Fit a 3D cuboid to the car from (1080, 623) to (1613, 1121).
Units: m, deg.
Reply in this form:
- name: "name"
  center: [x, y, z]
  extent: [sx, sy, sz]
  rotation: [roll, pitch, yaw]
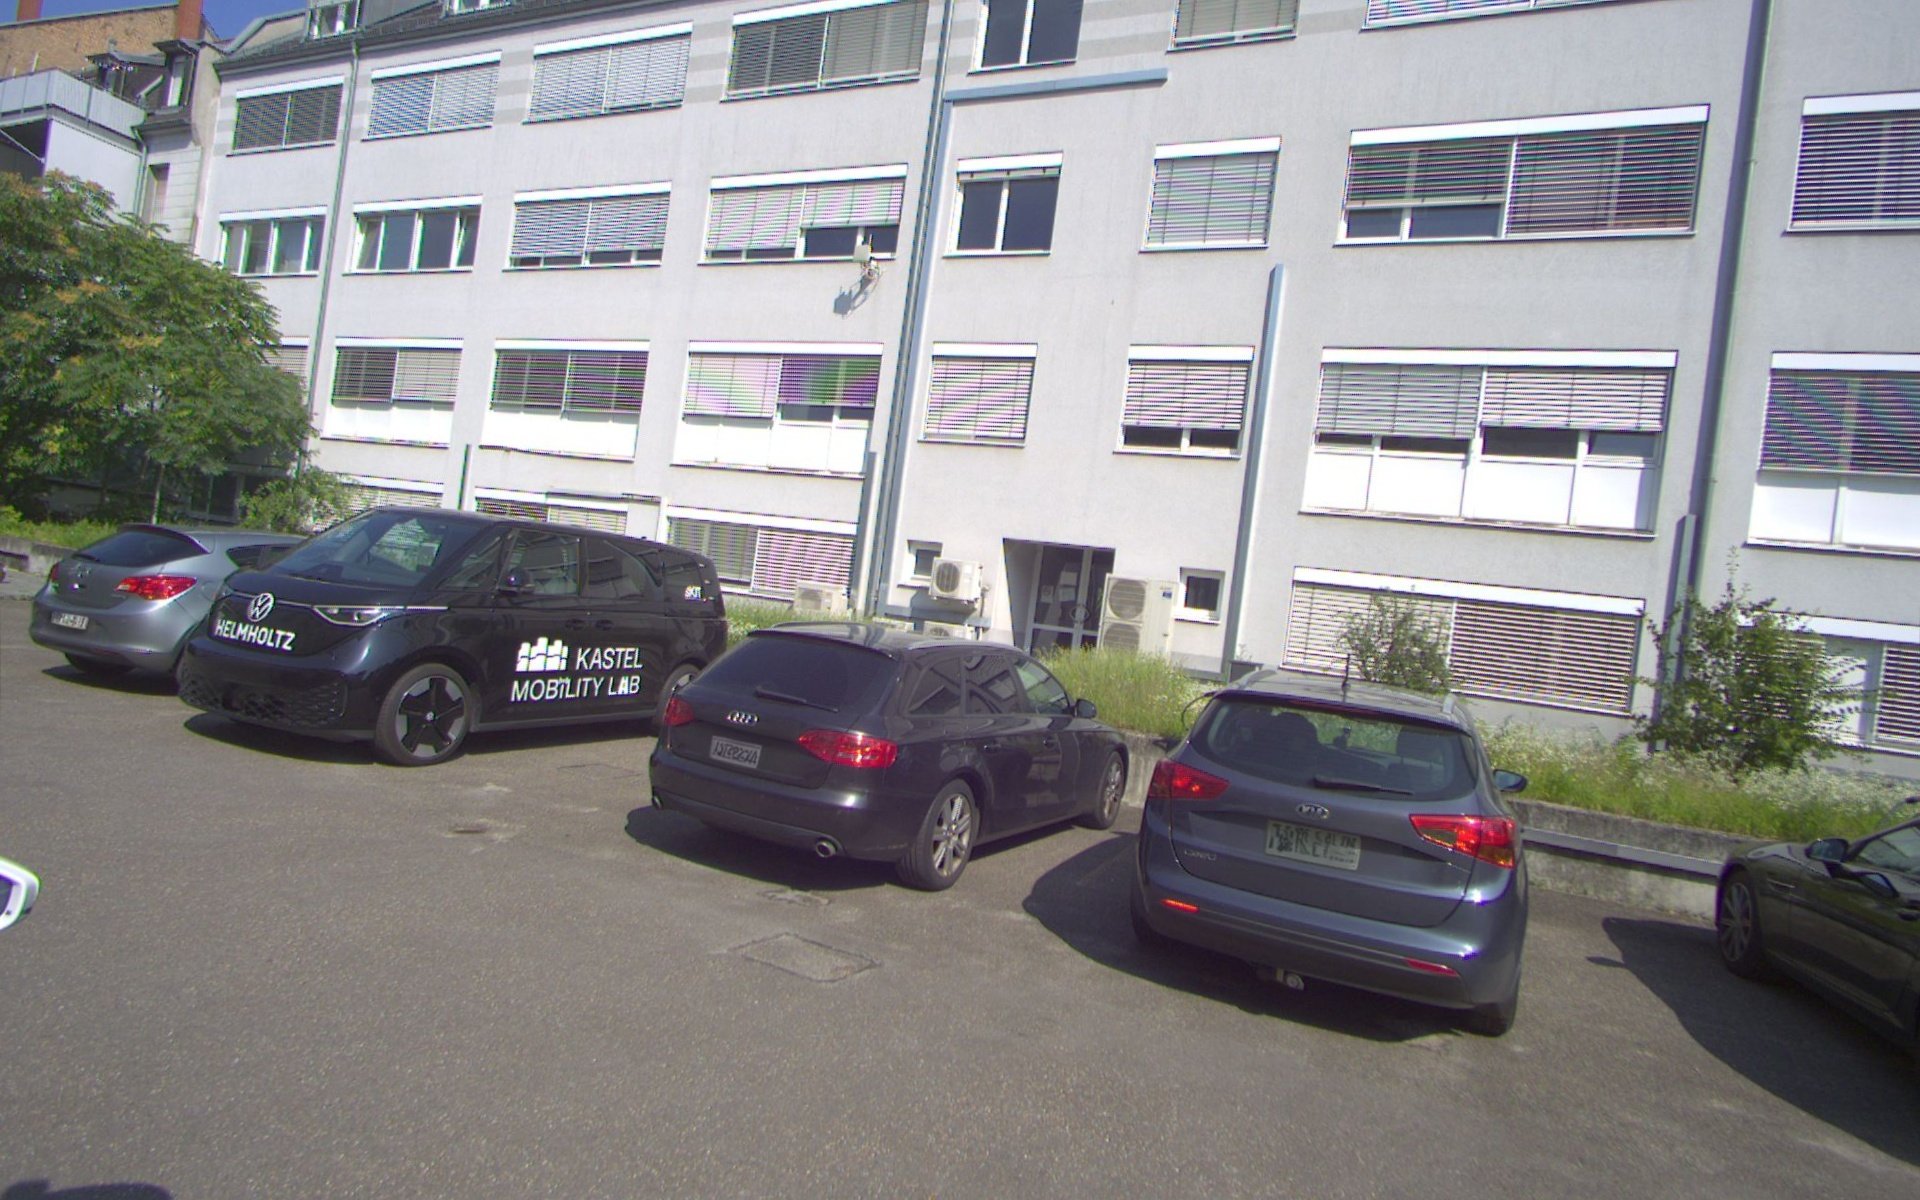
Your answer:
- name: "car"
  center: [2.270, 1.171, 5.809]
  extent: [1.846, 1.607, 3.875]
  rotation: [7, -2, 25]

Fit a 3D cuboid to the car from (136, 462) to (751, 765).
- name: "car"
  center: [-3.947, 0.194, 8.735]
  extent: [1.848, 1.815, 4.516]
  rotation: [6, -1, 21]

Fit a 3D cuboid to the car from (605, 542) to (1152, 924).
- name: "car"
  center: [-0.182, 0.807, 7.064]
  extent: [1.740, 1.711, 4.129]
  rotation: [7, -2, 28]

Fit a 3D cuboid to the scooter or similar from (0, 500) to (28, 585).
- name: "scooter or similar"
  center: [-15.182, -0.947, 15.394]
  extent: [1.324, 1.276, 0.379]
  rotation: [7, 0, -2]

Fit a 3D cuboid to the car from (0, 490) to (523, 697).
- name: "car"
  center: [-6.554, 0.051, 9.900]
  extent: [1.742, 1.499, 3.946]
  rotation: [6, -1, 21]

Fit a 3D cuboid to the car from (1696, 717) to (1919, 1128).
- name: "car"
  center: [5.148, 1.519, 4.524]
  extent: [1.862, 1.607, 3.814]
  rotation: [7, -2, 21]
